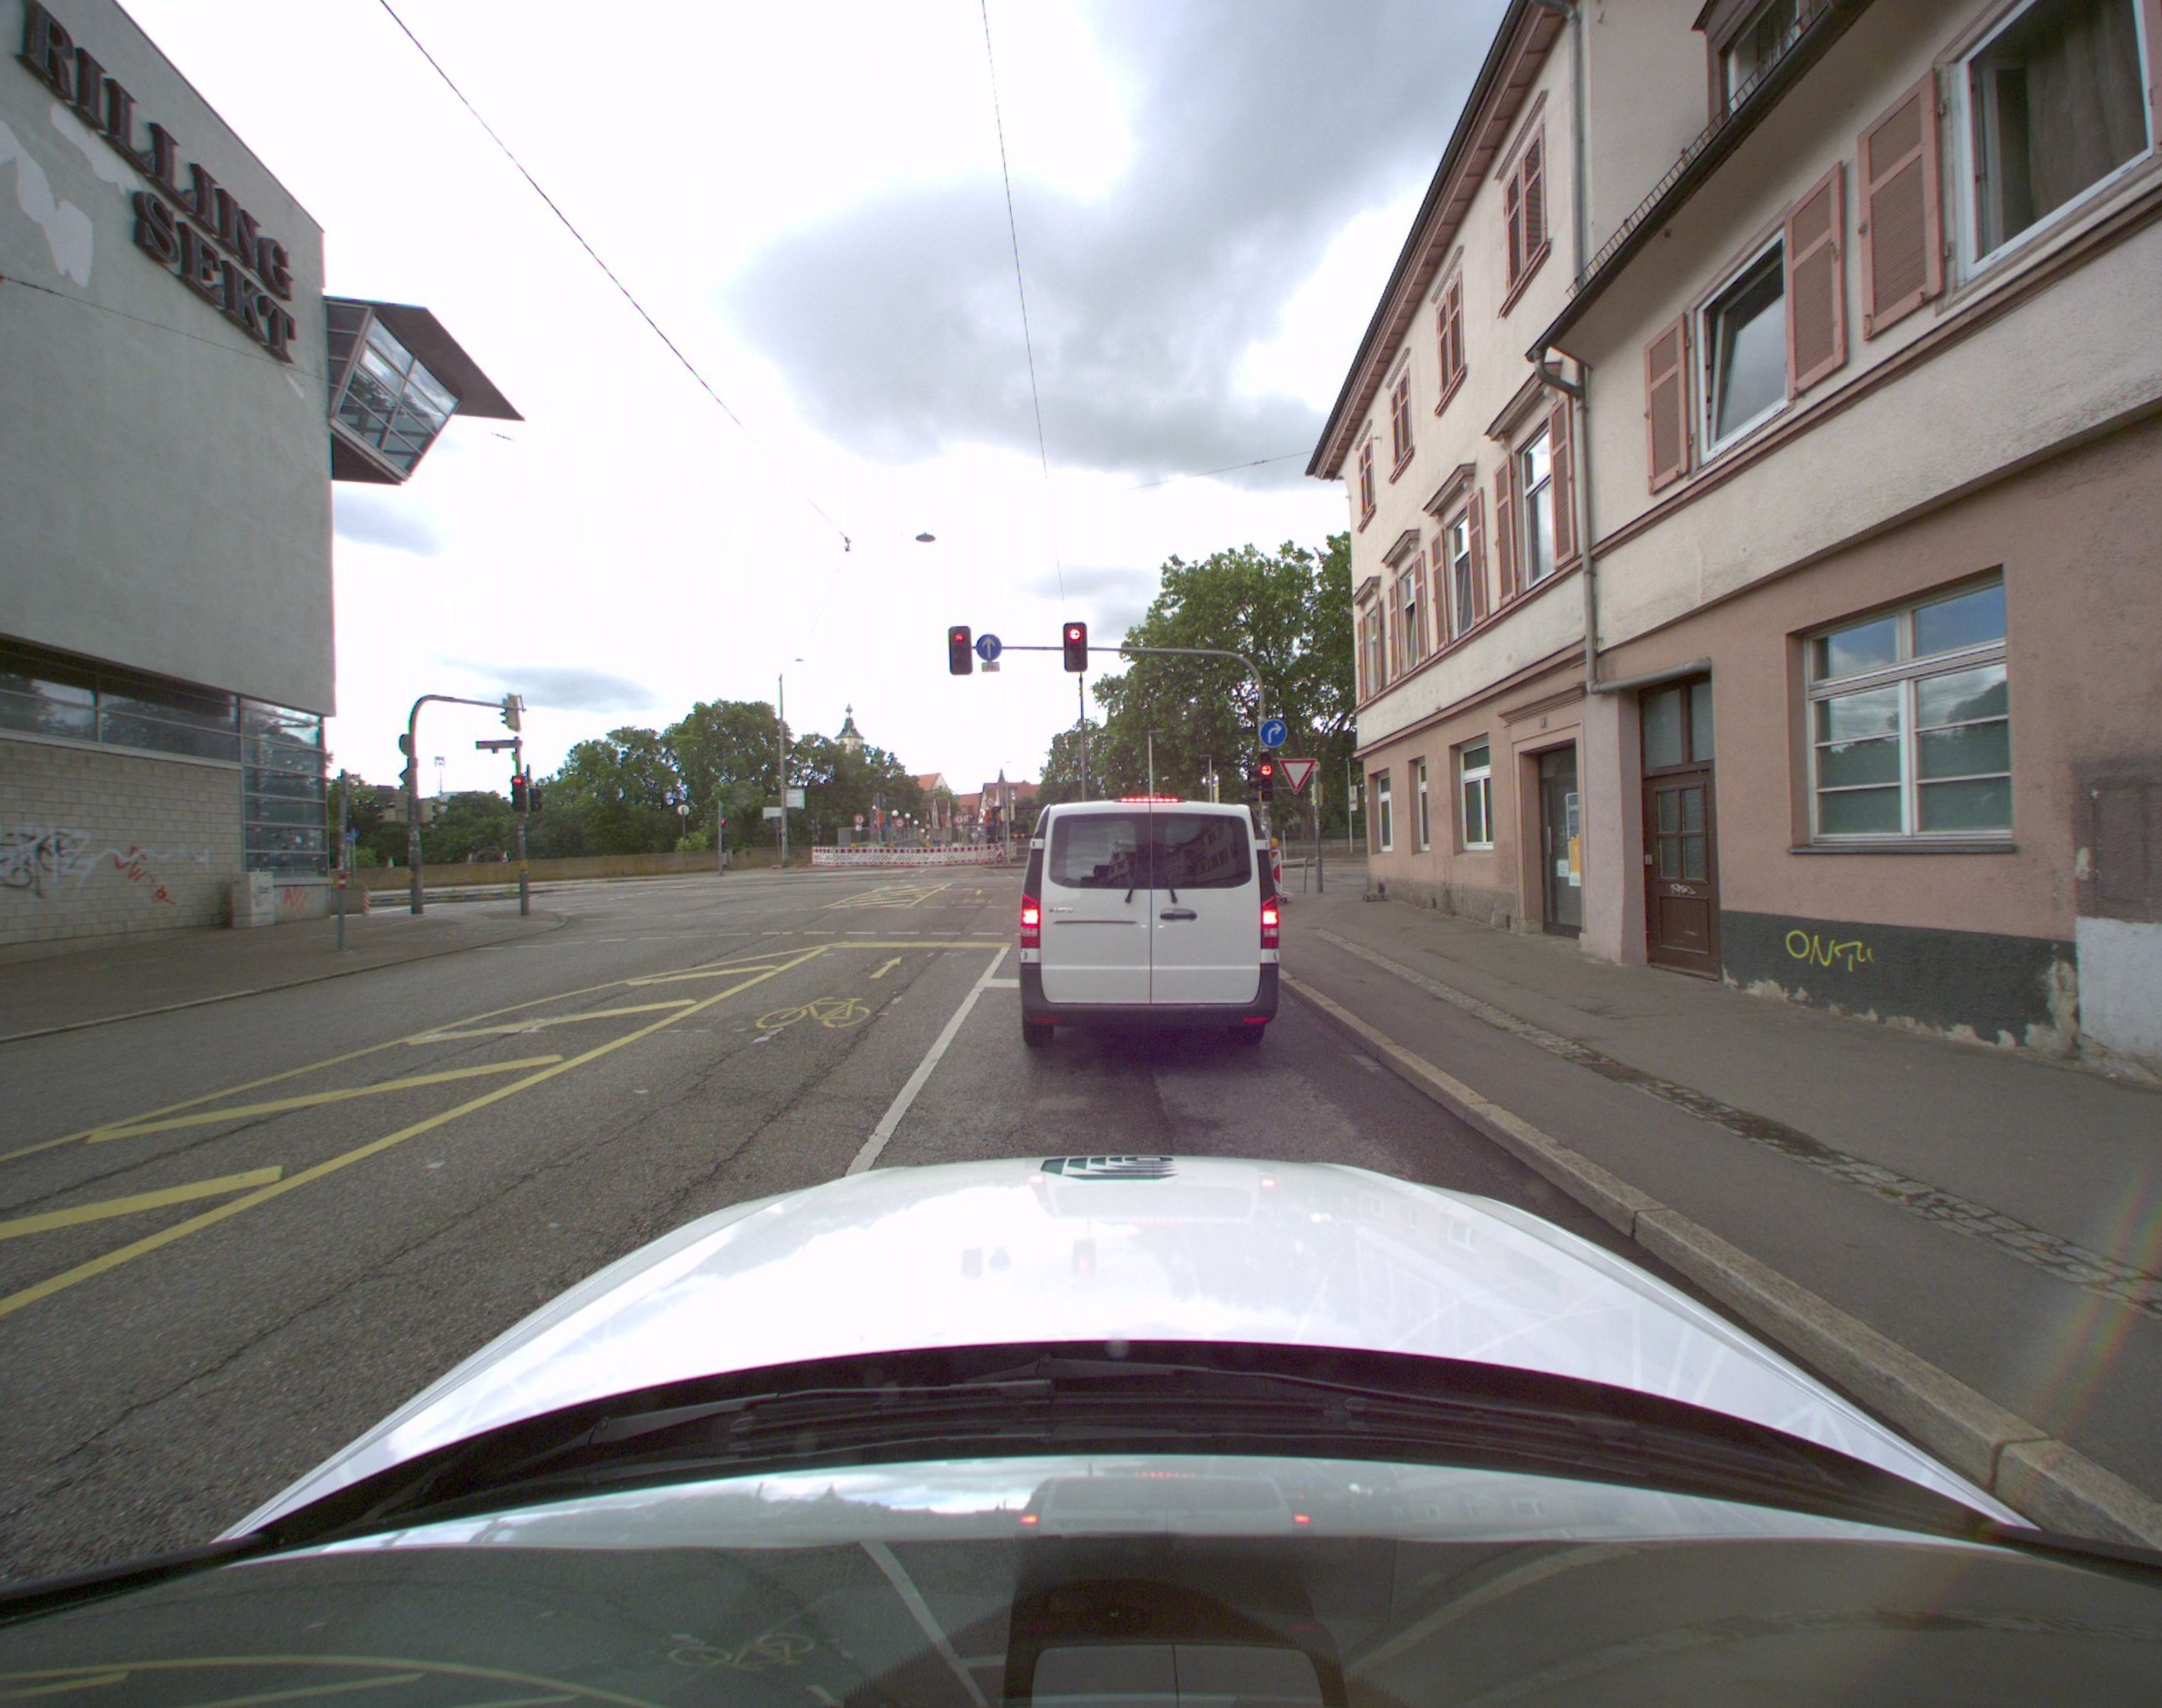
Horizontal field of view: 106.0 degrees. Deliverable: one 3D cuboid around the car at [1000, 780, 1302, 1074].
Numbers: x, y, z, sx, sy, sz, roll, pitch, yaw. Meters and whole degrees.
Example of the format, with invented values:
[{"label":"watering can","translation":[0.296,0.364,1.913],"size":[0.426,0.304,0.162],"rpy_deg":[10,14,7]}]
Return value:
[{"label":"car","translation":[0.437,0.416,7.510],"size":[1.988,1.922,4.247],"rpy_deg":[-1,2,-1]}]
